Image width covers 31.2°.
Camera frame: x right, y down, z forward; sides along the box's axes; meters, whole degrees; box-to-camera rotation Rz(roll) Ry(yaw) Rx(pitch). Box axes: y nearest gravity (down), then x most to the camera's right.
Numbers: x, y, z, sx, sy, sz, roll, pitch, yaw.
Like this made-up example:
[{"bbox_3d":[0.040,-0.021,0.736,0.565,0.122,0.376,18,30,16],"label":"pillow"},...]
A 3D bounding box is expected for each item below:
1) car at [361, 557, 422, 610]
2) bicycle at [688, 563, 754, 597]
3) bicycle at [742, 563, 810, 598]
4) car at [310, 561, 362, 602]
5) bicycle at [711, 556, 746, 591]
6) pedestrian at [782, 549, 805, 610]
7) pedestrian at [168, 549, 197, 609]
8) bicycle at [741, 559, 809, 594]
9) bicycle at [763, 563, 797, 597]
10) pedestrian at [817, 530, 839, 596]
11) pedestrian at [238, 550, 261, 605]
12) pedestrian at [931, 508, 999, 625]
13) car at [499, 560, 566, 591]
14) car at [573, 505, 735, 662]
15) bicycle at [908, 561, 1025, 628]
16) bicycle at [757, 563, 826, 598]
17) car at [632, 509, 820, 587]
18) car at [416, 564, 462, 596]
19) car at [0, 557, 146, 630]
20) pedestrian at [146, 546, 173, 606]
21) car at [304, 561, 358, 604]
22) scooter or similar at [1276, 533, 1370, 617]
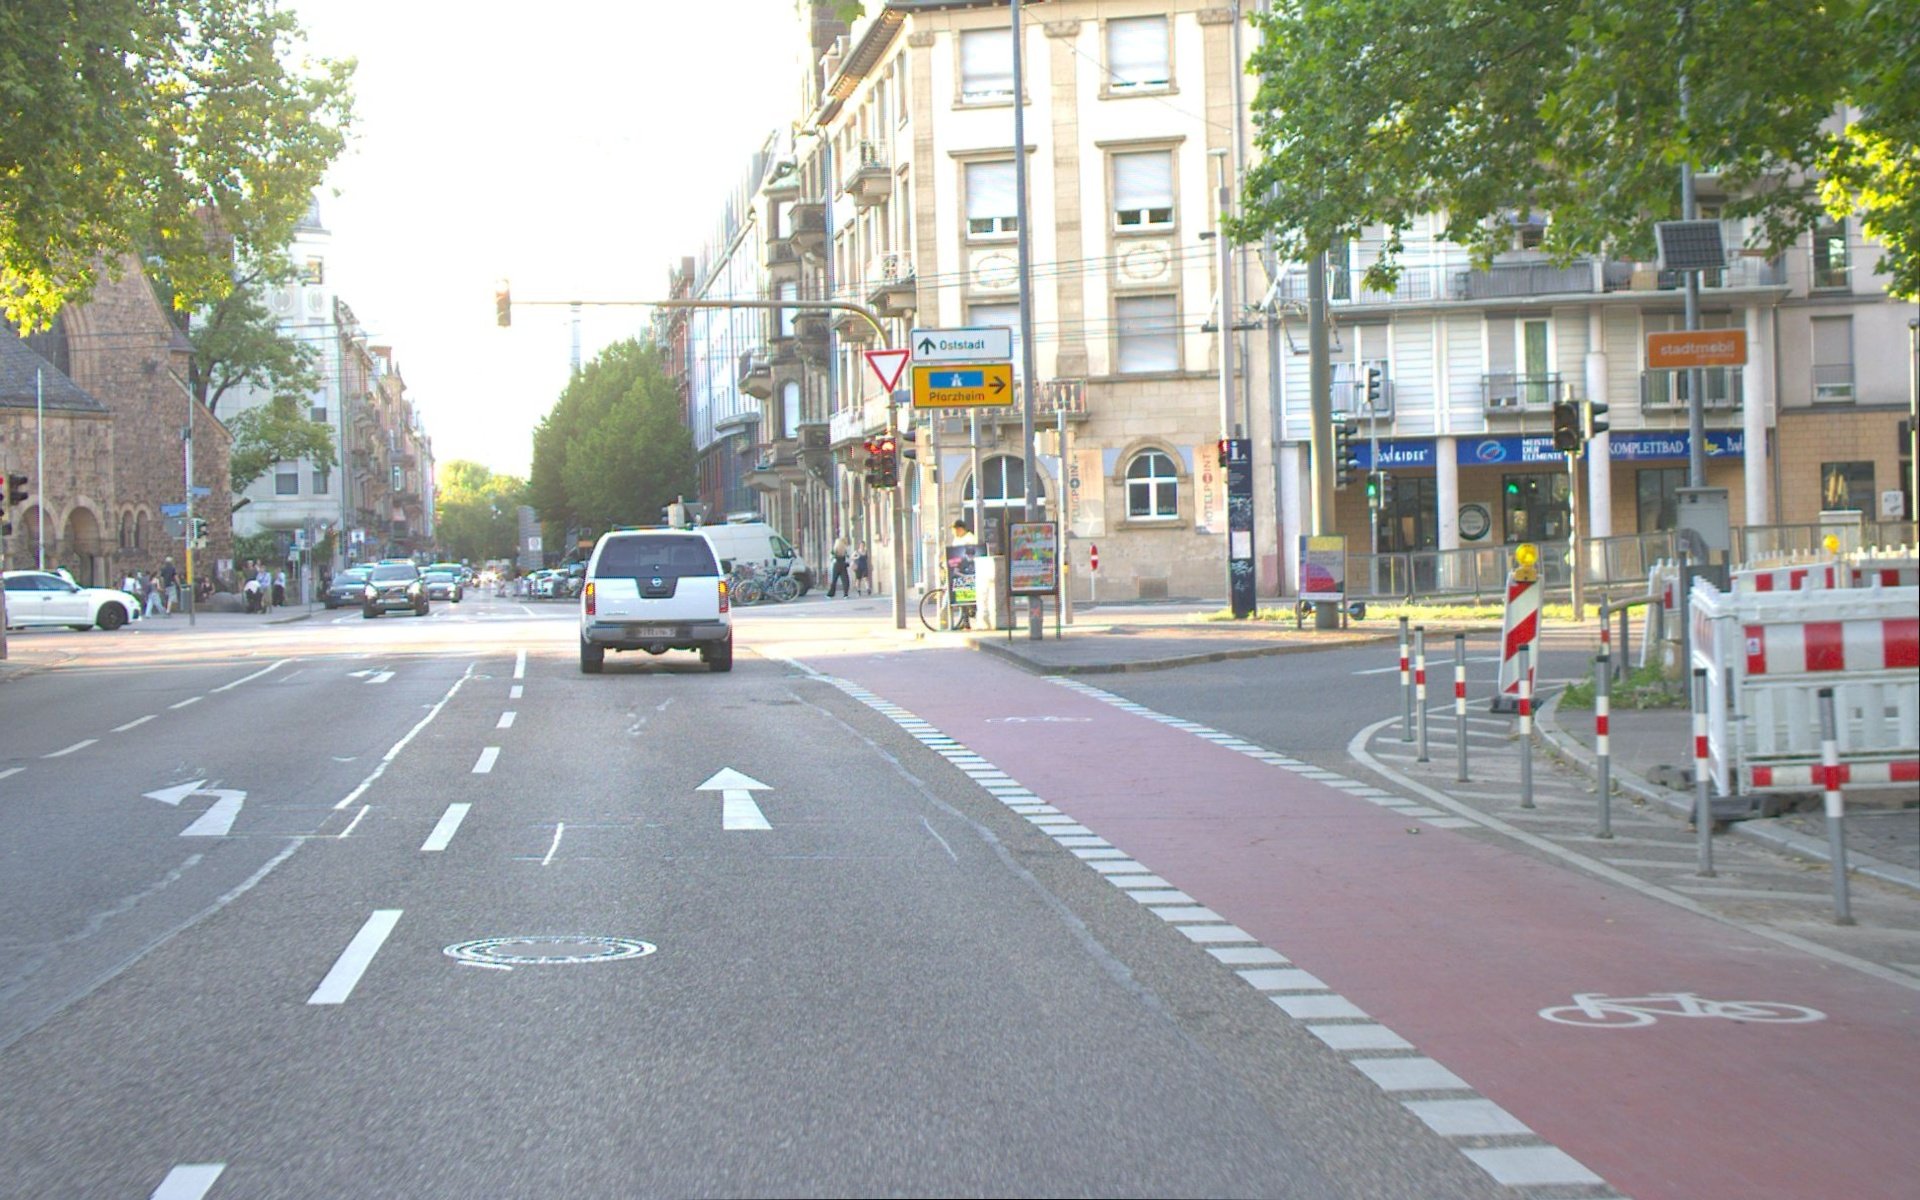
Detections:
[{"bbox_3d":[-18.119,-0.542,109.463,1.781,1.645,3.822,0,1,-11],"label":"car"},{"bbox_3d":[-6.994,-0.587,100.502,1.914,0.965,0.546,-1,1,-5],"label":"bicycle"},{"bbox_3d":[-5.322,-0.573,99.364,1.914,0.965,0.546,-1,1,-5],"label":"bicycle"},{"bbox_3d":[-25.183,-0.756,138.657,1.993,1.645,3.822,0,1,-11],"label":"car"},{"bbox_3d":[-6.796,-0.783,101.172,0.544,0.965,1.920,-1,1,11],"label":"bicycle"},{"bbox_3d":[-4.811,-0.592,99.179,0.593,1.762,0.653,-1,1,-1],"label":"pedestrian"},{"bbox_3d":[-24.803,-0.668,109.640,0.654,1.880,0.585,-1,1,16],"label":"pedestrian"},{"bbox_3d":[-5.334,-0.684,99.082,1.914,0.965,0.546,-1,1,-5],"label":"bicycle"},{"bbox_3d":[-5.298,-0.596,101.515,0.544,0.965,1.920,-1,1,11],"label":"bicycle"},{"bbox_3d":[-3.801,-1.064,98.865,0.593,1.880,0.647,-1,1,-1],"label":"pedestrian"},{"bbox_3d":[-24.647,-0.777,119.248,0.593,1.880,0.553,-1,1,11],"label":"pedestrian"},{"bbox_3d":[0.074,-0.517,52.928,0.794,1.762,0.721,-2,1,-20],"label":"pedestrian"},{"bbox_3d":[-26.350,-1.506,211.900,3.986,1.809,2.001,-1,1,-9],"label":"car"},{"bbox_3d":[-3.838,-0.228,43.284,1.866,1.808,4.001,-2,1,-5],"label":"car"},{"bbox_3d":[0.101,-0.088,52.435,1.691,0.965,0.546,-1,1,-10],"label":"bicycle"},{"bbox_3d":[-4.899,-0.578,100.175,1.916,0.965,0.545,-1,1,11],"label":"bicycle"},{"bbox_3d":[-7.147,-1.613,105.506,2.071,2.280,5.808,0,1,44],"label":"car"},{"bbox_3d":[-24.843,-0.943,163.926,1.993,1.501,3.822,0,1,-11],"label":"car"},{"bbox_3d":[-20.822,-0.139,76.938,4.629,1.525,2.000,-2,1,-33],"label":"car"},{"bbox_3d":[-25.540,-0.766,109.667,0.593,1.880,0.553,-1,1,15],"label":"pedestrian"},{"bbox_3d":[-23.989,-0.676,130.999,1.993,1.645,3.822,0,1,-11],"label":"car"},{"bbox_3d":[5.525,-0.377,52.327,0.544,1.246,1.389,-2,1,-43],"label":"scooter or similar"}]
